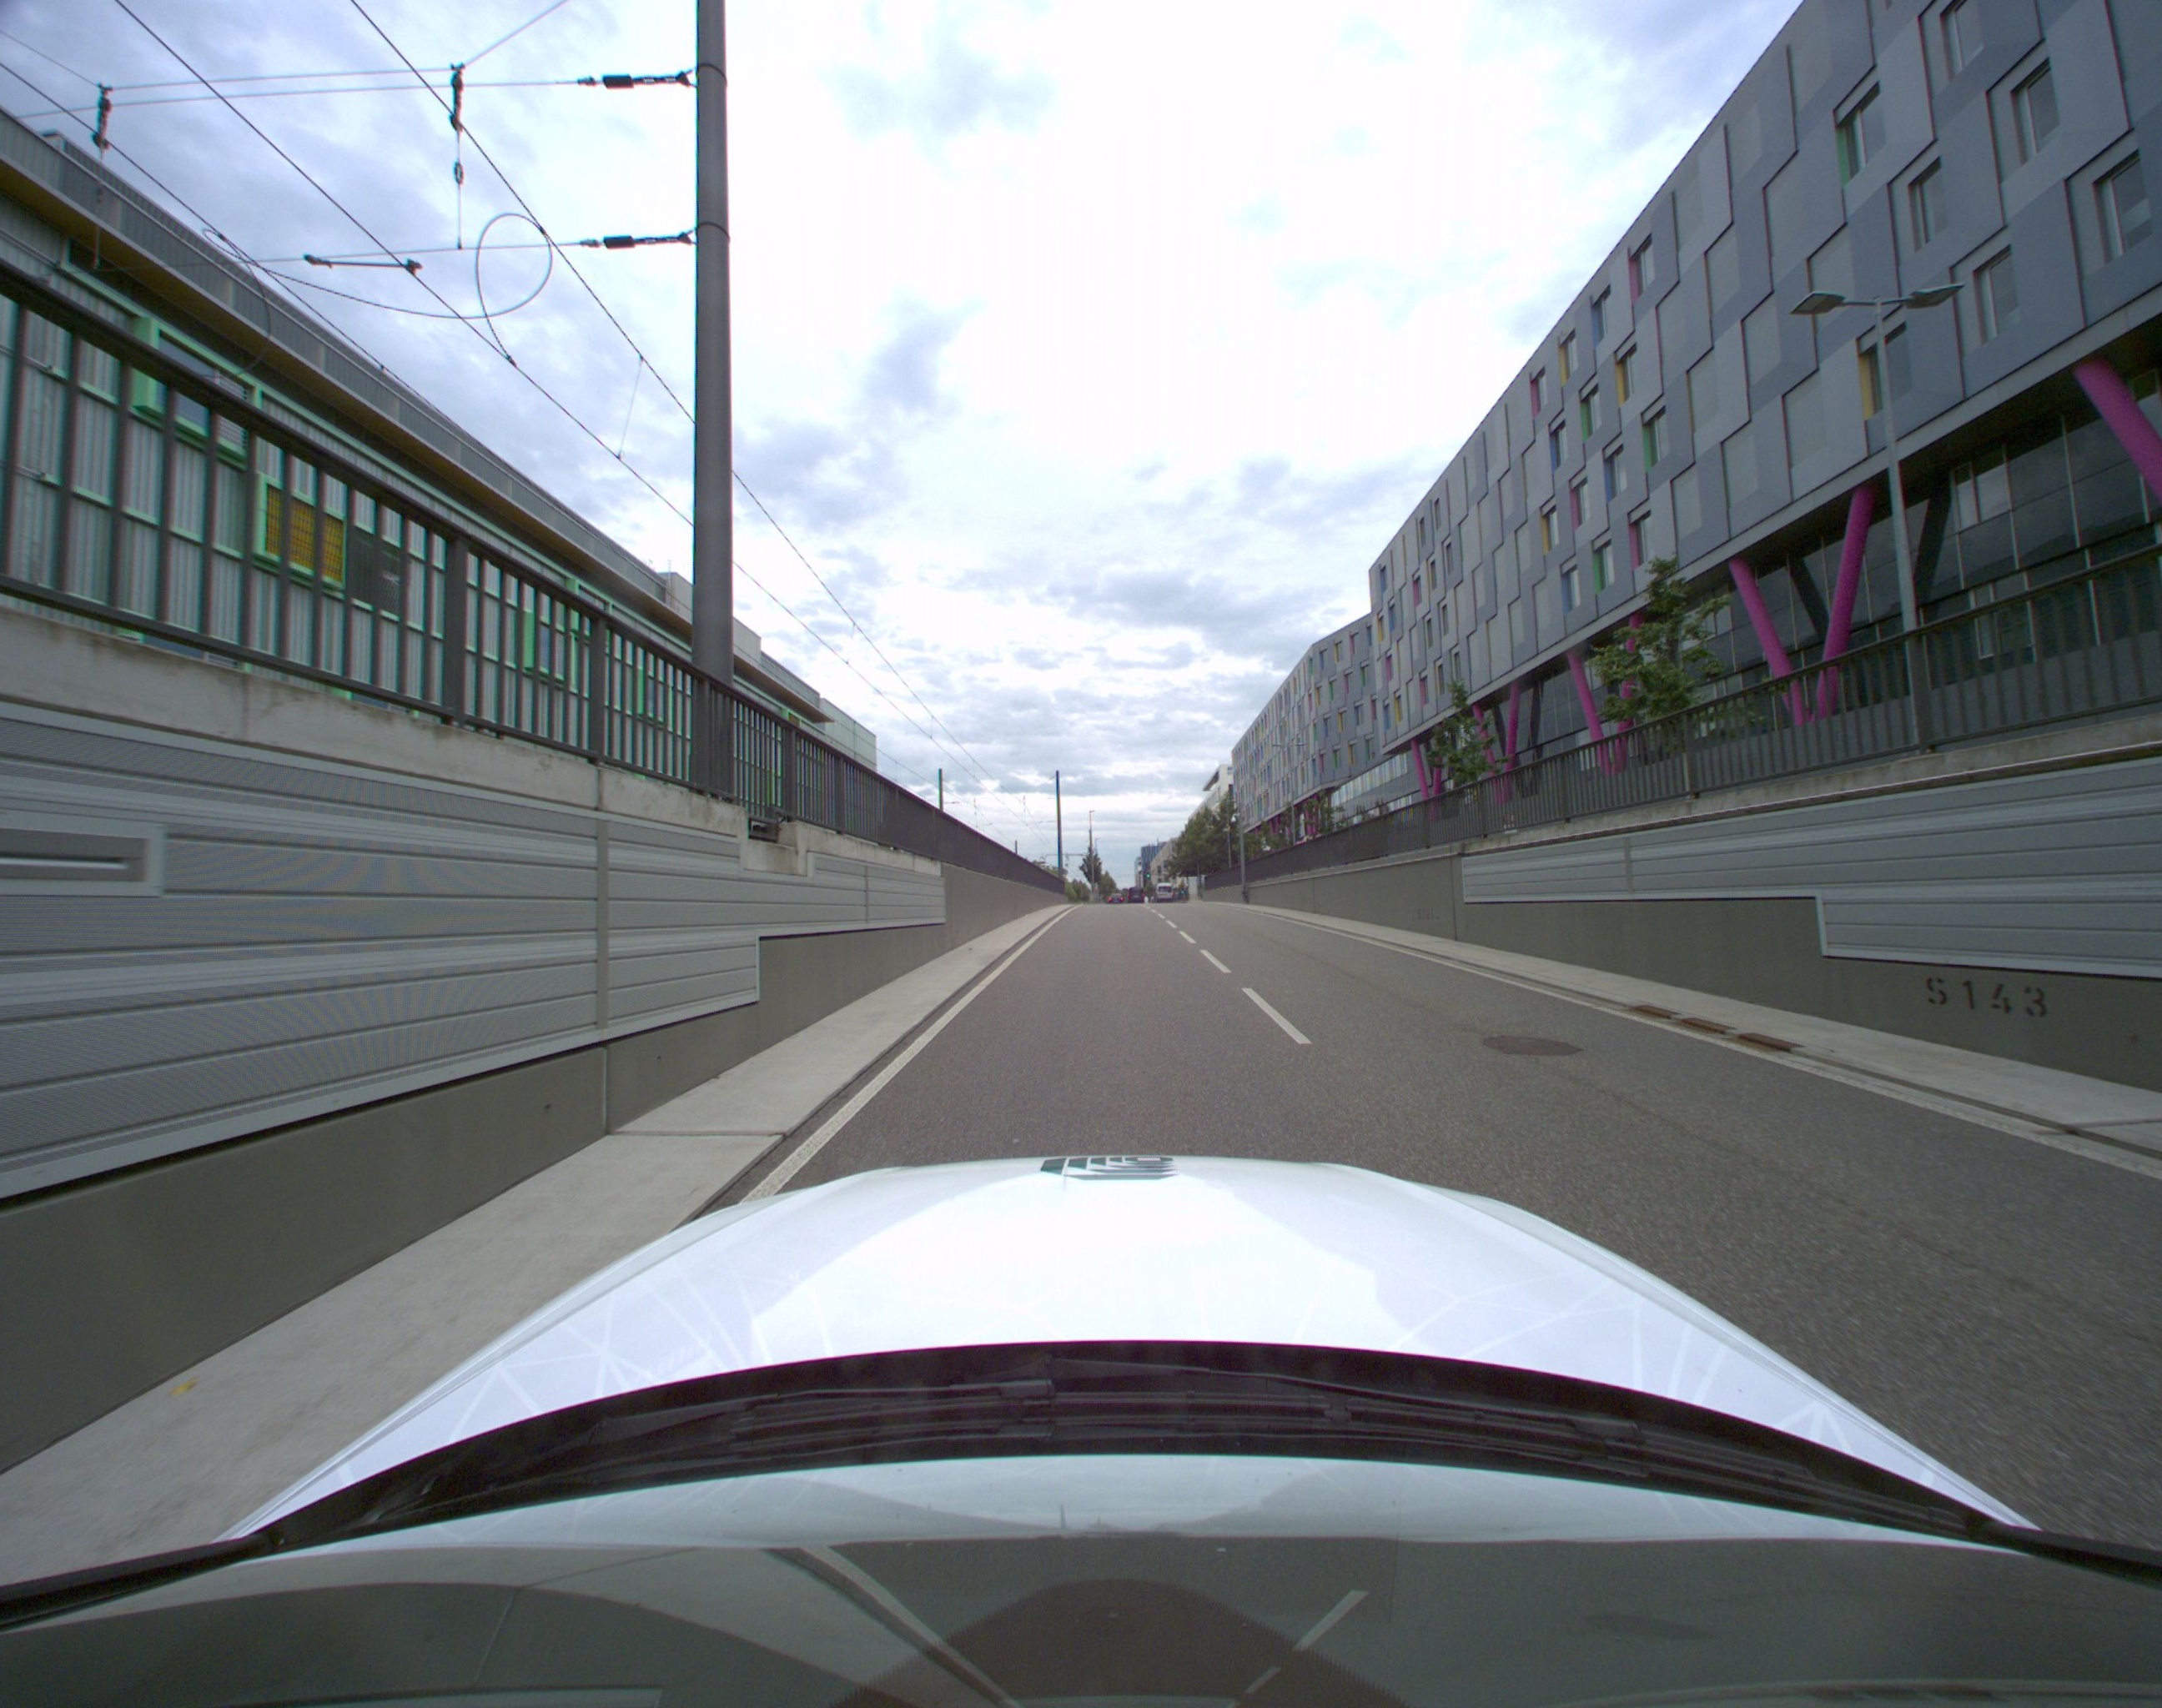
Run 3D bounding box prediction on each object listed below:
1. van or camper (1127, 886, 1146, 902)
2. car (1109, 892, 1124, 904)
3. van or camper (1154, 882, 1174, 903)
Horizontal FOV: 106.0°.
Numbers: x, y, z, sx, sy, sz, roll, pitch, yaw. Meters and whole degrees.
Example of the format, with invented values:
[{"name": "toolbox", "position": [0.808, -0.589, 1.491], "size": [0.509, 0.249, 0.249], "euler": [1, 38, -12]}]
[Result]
[{"name": "van or camper", "position": [6.042, 4.412, 89.723], "size": [1.985, 1.616, 4.791], "euler": [-1, -3, 3]}, {"name": "car", "position": [4.420, 5.508, 101.864], "size": [1.737, 1.418, 4.000], "euler": [0, -4, 2]}, {"name": "van or camper", "position": [9.623, 4.429, 94.664], "size": [2.100, 2.356, 4.925], "euler": [-1, -2, 3]}]
